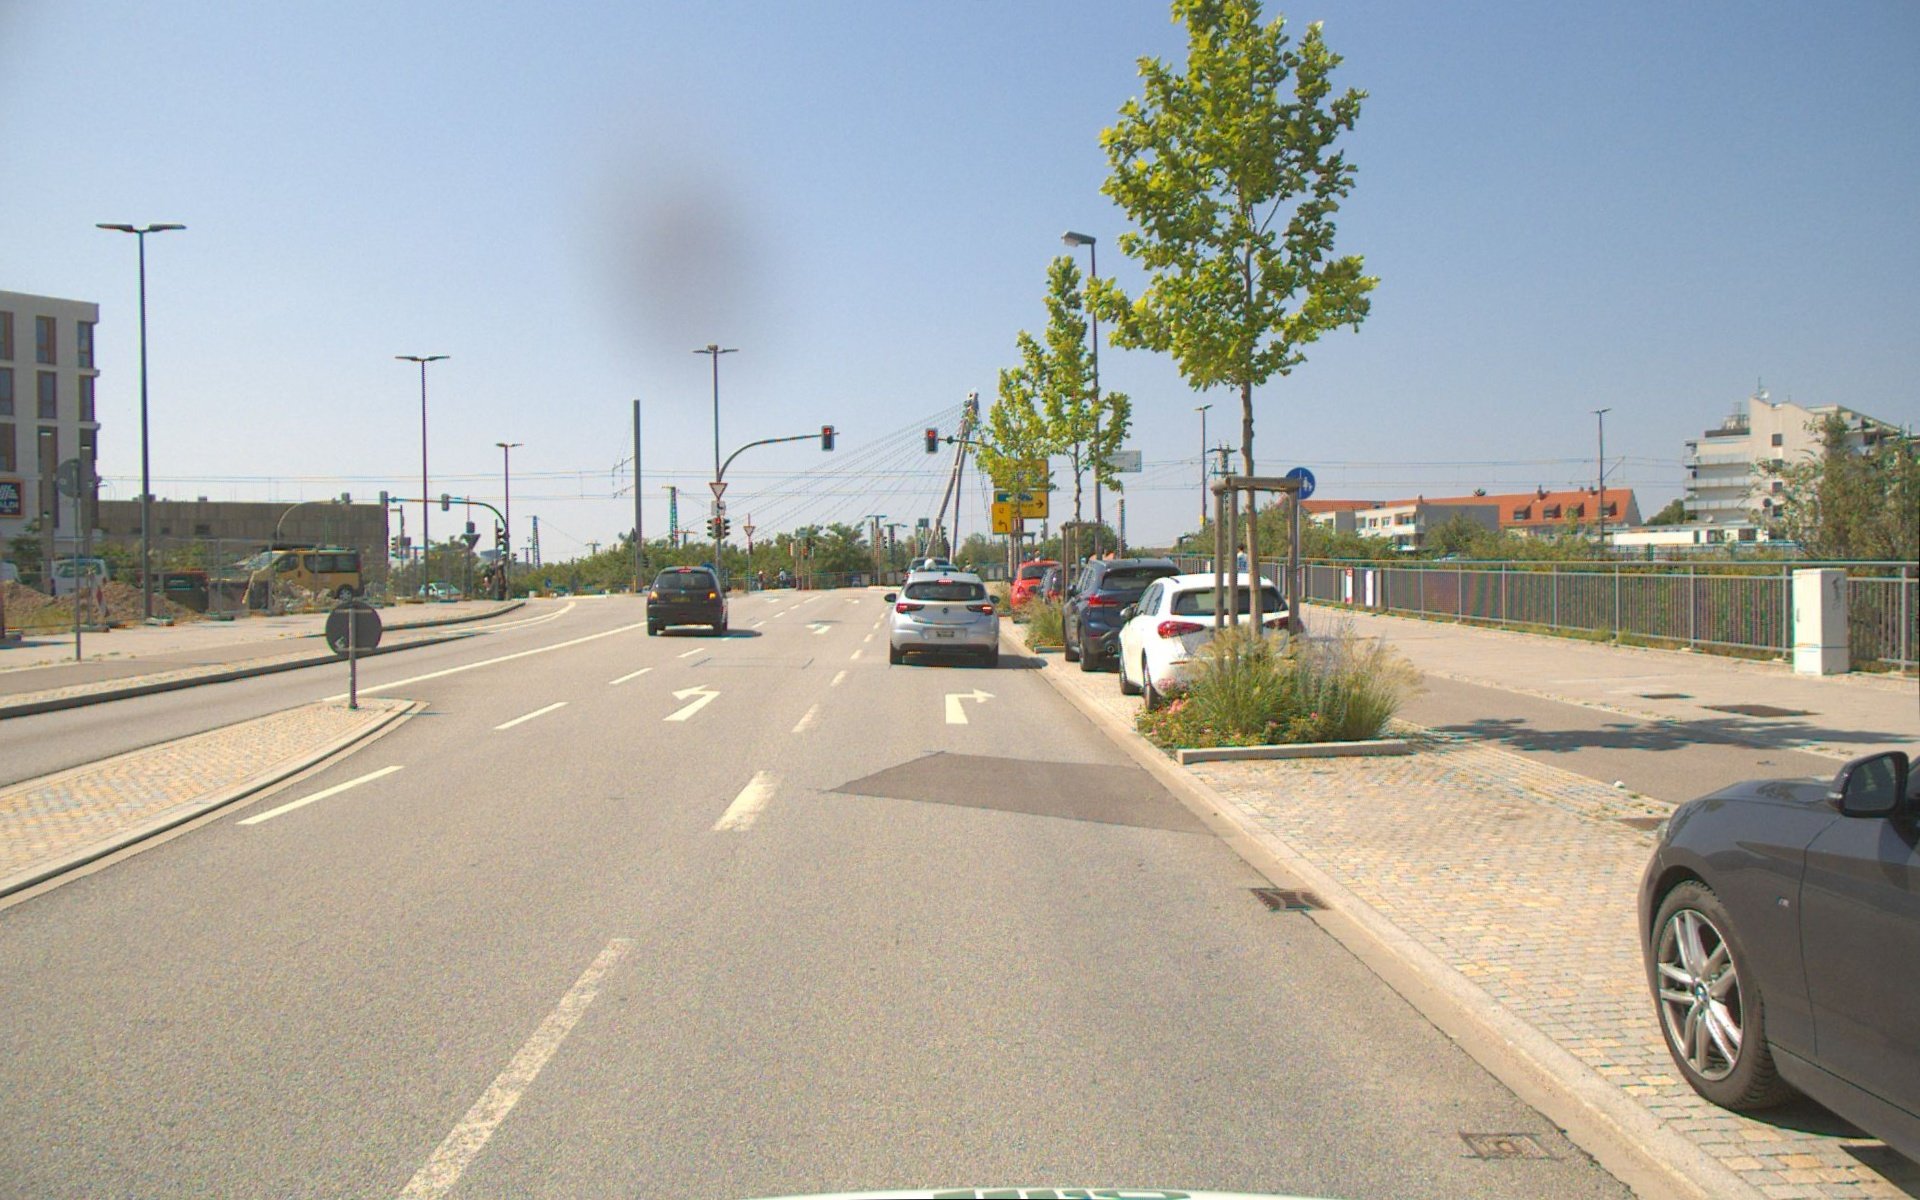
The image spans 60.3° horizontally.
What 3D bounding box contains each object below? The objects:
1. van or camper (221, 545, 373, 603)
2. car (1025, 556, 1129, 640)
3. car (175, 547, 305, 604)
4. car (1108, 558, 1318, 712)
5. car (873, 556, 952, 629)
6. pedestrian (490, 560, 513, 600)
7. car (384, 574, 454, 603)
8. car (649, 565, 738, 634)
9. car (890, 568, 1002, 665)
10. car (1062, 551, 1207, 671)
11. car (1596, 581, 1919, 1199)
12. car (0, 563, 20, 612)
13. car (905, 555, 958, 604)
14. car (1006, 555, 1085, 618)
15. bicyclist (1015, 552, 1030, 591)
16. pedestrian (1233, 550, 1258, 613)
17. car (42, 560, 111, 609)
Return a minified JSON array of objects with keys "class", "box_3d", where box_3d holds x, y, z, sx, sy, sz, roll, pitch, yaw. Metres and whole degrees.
[{"class":"van or camper","box_3d":[-23.656,-0.892,59.151,1.964,1.930,4.690,0,-1,41]},{"class":"car","box_3d":[2.412,-0.067,35.049,1.742,1.529,3.999,-5,1,-1]},{"class":"car","box_3d":[-26.601,-0.904,61.218,1.961,2.049,3.983,0,1,37]},{"class":"car","box_3d":[2.765,0.321,18.930,1.662,1.501,4.205,-2,1,-1]},{"class":"car","box_3d":[-1.091,-0.220,38.796,1.742,1.596,4.000,-1,2,-1]},{"class":"pedestrian","box_3d":[-19.612,-0.852,70.757,0.828,1.675,0.827,0,1,-6]},{"class":"car","box_3d":[-35.821,-0.757,109.629,3.902,1.803,2.002,0,-1,12]},{"class":"car","box_3d":[-5.826,-0.032,36.445,1.587,1.441,3.724,0,1,-4]},{"class":"car","box_3d":[-0.256,0.219,27.639,1.742,1.467,4.000,0,2,-1]},{"class":"car","box_3d":[2.602,0.116,25.436,1.785,1.644,3.611,-2,1,0]},{"class":"car","box_3d":[2.978,0.657,3.363,1.669,1.426,4.269,-2,0,0]},{"class":"car","box_3d":[-35.085,-0.464,59.634,2.006,1.701,4.552,-1,1,-31]},{"class":"car","box_3d":[-0.988,-0.739,57.151,1.742,1.596,4.000,-1,2,-1]},{"class":"car","box_3d":[2.205,-0.378,43.594,1.742,1.530,3.999,-2,1,-1]},{"class":"bicyclist","box_3d":[2.693,-1.227,71.518,0.581,1.673,0.312,1,-1,-7]},{"class":"pedestrian","box_3d":[7.278,-0.469,42.211,0.522,1.603,0.523,1,-1,-1]},{"class":"car","box_3d":[-32.425,-0.584,60.645,2.006,1.701,4.552,-1,1,-31]}]
